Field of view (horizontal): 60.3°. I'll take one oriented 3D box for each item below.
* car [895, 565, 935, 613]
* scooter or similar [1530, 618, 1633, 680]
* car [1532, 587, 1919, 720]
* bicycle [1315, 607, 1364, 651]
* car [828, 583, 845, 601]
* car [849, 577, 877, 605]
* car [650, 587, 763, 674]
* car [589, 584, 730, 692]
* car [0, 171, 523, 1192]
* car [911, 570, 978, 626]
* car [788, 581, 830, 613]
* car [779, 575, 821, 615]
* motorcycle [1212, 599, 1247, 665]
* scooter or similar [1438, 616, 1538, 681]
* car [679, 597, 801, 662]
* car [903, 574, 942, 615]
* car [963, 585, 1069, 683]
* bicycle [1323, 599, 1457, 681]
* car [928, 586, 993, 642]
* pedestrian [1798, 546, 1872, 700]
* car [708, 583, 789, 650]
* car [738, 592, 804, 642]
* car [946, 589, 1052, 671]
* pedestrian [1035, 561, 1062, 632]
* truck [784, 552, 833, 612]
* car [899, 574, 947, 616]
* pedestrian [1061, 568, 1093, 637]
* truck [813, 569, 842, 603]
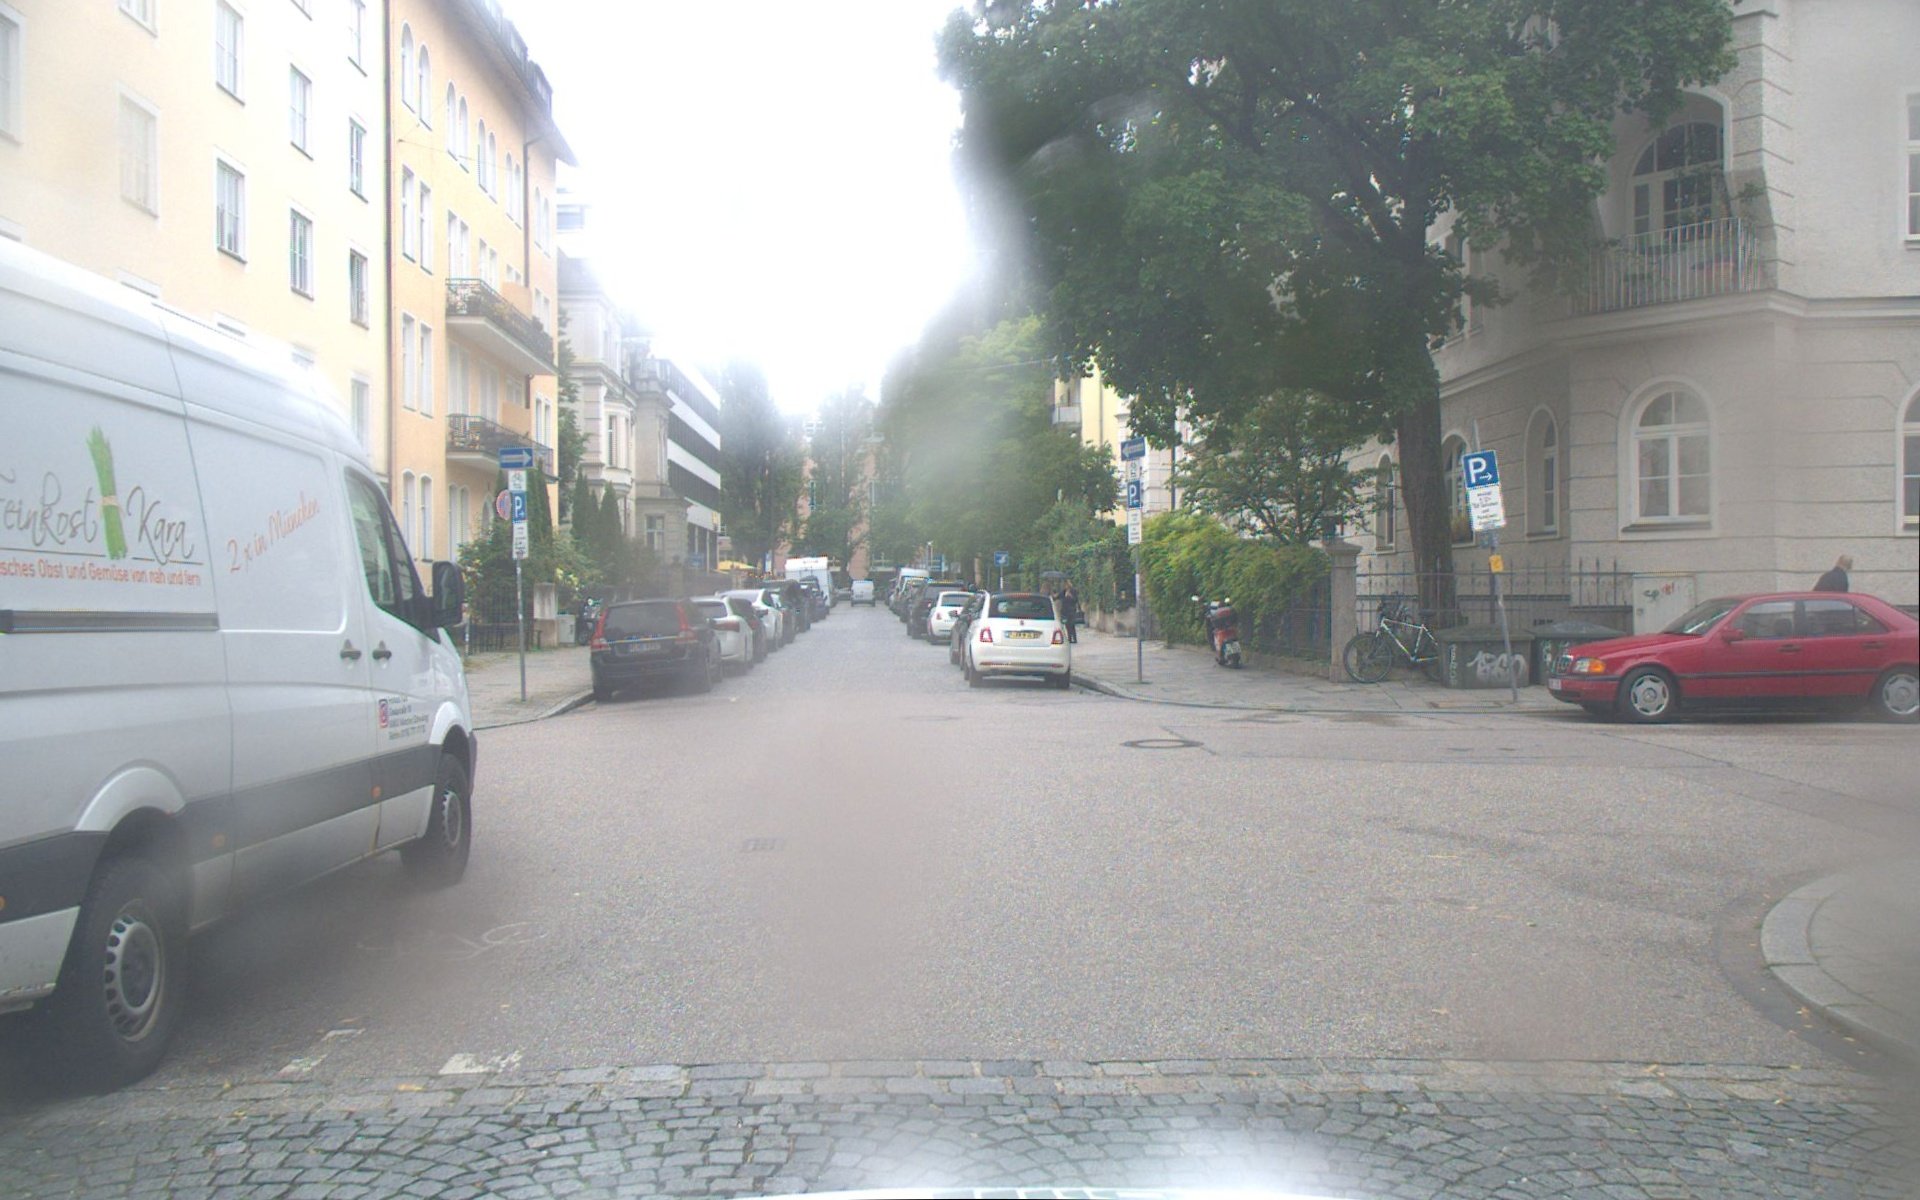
[{"bbox_3d":[-2.548,-0.666,91.895,1.858,2.468,5.607,3,1,-4],"label":"car"},{"bbox_3d":[8.584,0.670,22.879,1.211,0.840,0.697,0,0,6],"label":"scooter or similar"},{"bbox_3d":[8.826,0.566,18.379,4.373,1.381,1.761,0,0,4],"label":"car"},{"bbox_3d":[7.489,0.559,32.720,0.481,0.826,2.274,0,0,1],"label":"bicycle"},{"bbox_3d":[-10.819,-0.681,145.048,1.251,1.568,3.118,0,0,-2],"label":"car"},{"bbox_3d":[-7.041,-0.667,120.038,1.956,1.970,3.998,0,0,-2],"label":"car"},{"bbox_3d":[-4.837,0.549,32.021,1.738,1.563,4.537,0,0,-3],"label":"car"},{"bbox_3d":[-4.816,0.562,27.097,1.816,1.614,4.743,0,0,-5],"label":"car"},{"bbox_3d":[-3.496,0.214,6.747,1.937,2.619,5.792,-2,0,-1],"label":"car"},{"bbox_3d":[-0.560,-0.075,52.918,1.838,1.702,5.487,0,0,-4],"label":"car"},{"bbox_3d":[-7.179,-0.146,79.030,1.902,1.485,4.054,0,0,-4],"label":"car"},{"bbox_3d":[-7.109,-0.216,73.825,1.739,1.748,4.387,0,0,-4],"label":"car"},{"bbox_3d":[4.581,0.531,28.158,0.355,1.109,1.403,0,0,-1],"label":"motorcycle"},{"bbox_3d":[7.306,0.663,22.949,1.158,0.863,0.925,0,0,6],"label":"scooter or similar"},{"bbox_3d":[-4.916,0.630,37.542,1.736,1.383,4.394,0,0,6],"label":"car"},{"bbox_3d":[-1.991,-0.286,86.366,1.765,1.983,4.856,3,0,-4],"label":"car"},{"bbox_3d":[0.867,0.521,27.313,1.471,1.497,3.794,0,0,-2],"label":"car"},{"bbox_3d":[6.196,0.574,23.899,1.798,1.144,0.563,-1,0,6],"label":"bicycle"},{"bbox_3d":[-0.021,0.386,47.812,1.598,1.495,3.656,2,0,-4],"label":"car"},{"bbox_3d":[11.053,0.280,20.910,0.484,1.909,0.741,0,0,-8],"label":"pedestrian"},{"bbox_3d":[-5.480,0.410,43.276,1.738,1.676,4.389,0,0,-3],"label":"car"},{"bbox_3d":[-5.683,0.487,50.134,1.738,1.454,4.388,0,0,-3],"label":"car"},{"bbox_3d":[0.721,0.562,33.563,1.616,1.446,4.628,3,0,-4],"label":"car"},{"bbox_3d":[2.384,-0.089,44.360,0.666,1.882,0.577,0,0,-3],"label":"pedestrian"},{"bbox_3d":[-8.231,-1.001,90.334,2.459,3.084,6.379,-2,1,-4],"label":"truck"},{"bbox_3d":[-1.682,-0.229,73.377,1.924,1.789,4.950,0,0,-4],"label":"car"},{"bbox_3d":[3.175,0.066,44.777,0.646,1.840,0.628,0,0,33],"label":"pedestrian"},{"bbox_3d":[-9.541,-0.996,119.160,1.954,2.387,4.065,0,0,-3],"label":"truck"}]
